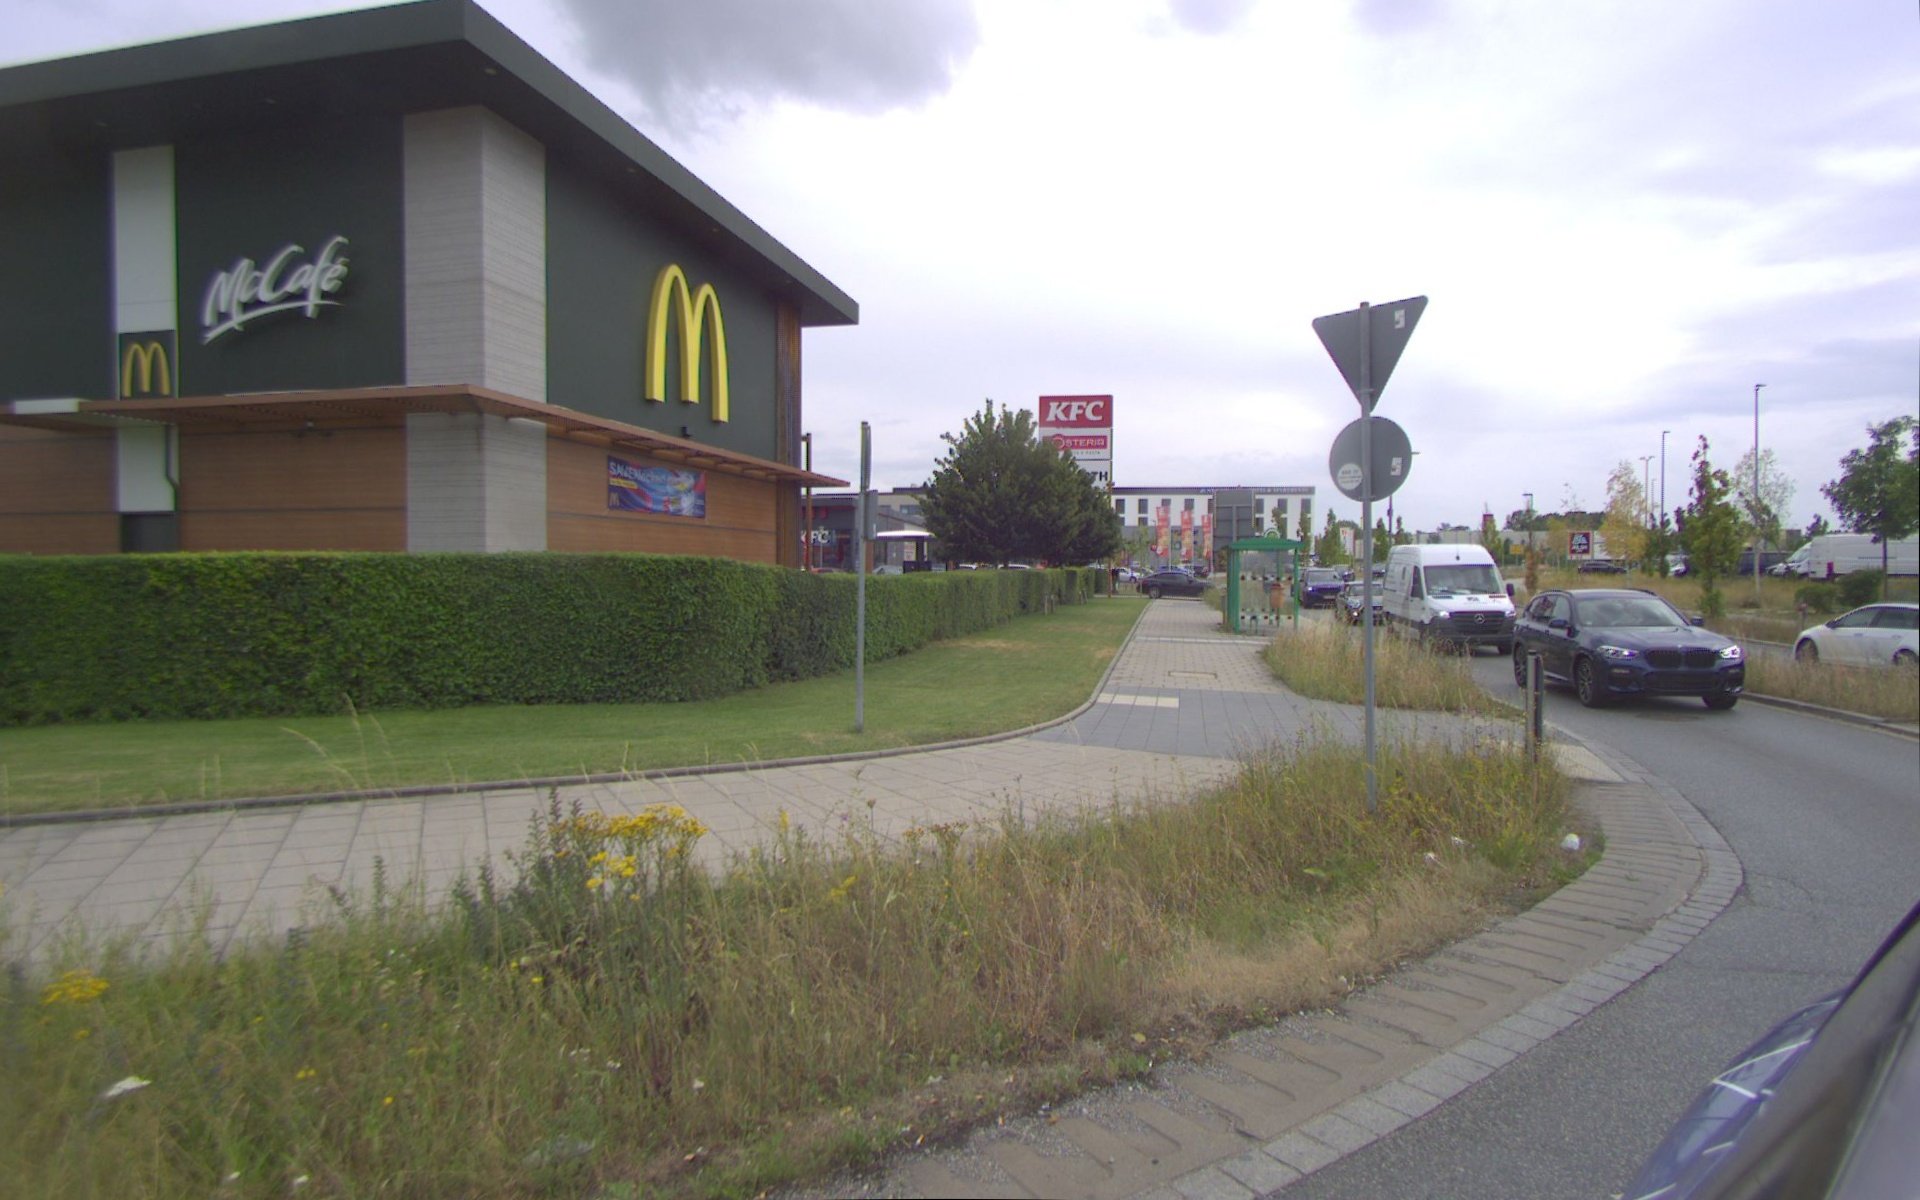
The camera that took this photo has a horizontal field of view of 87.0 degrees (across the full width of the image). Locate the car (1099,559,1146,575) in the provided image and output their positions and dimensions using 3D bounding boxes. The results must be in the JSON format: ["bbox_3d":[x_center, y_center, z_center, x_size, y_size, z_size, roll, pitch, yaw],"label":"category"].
[{"bbox_3d":[15.306,-3.134,95.313,3.959,1.504,1.831,1,2,26],"label":"car"}]

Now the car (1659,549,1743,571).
[{"bbox_3d":[58.531,-3.176,80.038,5.001,1.676,2.049,1,2,24],"label":"car"}]

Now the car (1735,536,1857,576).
[{"bbox_3d":[48.878,-2.553,59.305,4.995,2.251,2.051,1,2,21],"label":"car"}]

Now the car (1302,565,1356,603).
[{"bbox_3d":[16.701,-0.758,45.986,1.841,1.627,3.985,0,2,14],"label":"car"}]

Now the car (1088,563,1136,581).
[{"bbox_3d":[13.621,-2.517,90.529,3.952,1.504,1.835,1,2,21],"label":"car"}]

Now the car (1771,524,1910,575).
[{"bbox_3d":[45.452,-2.605,52.383,4.982,2.401,2.057,-1,2,14],"label":"car"}]

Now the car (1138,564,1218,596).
[{"bbox_3d":[11.377,-1.035,52.696,3.945,1.504,1.838,-1,3,17],"label":"car"}]

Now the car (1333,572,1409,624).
[{"bbox_3d":[14.081,-0.137,34.897,1.841,1.627,3.985,0,2,14],"label":"car"}]

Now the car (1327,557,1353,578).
[{"bbox_3d":[32.723,-2.813,87.089,1.978,1.593,3.971,-1,3,23],"label":"car"}]

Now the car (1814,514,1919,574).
[{"bbox_3d":[44.393,-2.676,47.439,6.332,2.656,2.054,-1,2,18],"label":"car"}]

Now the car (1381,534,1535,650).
[{"bbox_3d":[12.355,-0.307,25.618,1.996,2.558,6.086,0,2,12],"label":"car"}]

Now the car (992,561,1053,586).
[{"bbox_3d":[4.270,-1.811,68.987,3.934,1.504,1.843,-1,3,10],"label":"car"}]

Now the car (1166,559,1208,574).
[{"bbox_3d":[23.990,-3.514,106.915,3.966,1.504,1.829,0,3,31],"label":"car"}]

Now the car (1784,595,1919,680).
[{"bbox_3d":[17.565,0.662,18.502,1.699,1.426,4.633,1,1,9],"label":"car"}]

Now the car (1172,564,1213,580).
[{"bbox_3d":[25.046,-3.016,108.880,3.966,1.504,1.829,0,3,31],"label":"car"}]

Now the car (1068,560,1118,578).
[{"bbox_3d":[11.320,-2.657,86.212,3.952,1.541,1.835,1,2,22],"label":"car"}]

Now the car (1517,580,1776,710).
[{"bbox_3d":[10.197,0.548,15.438,1.840,1.627,3.987,0,2,12],"label":"car"}]
